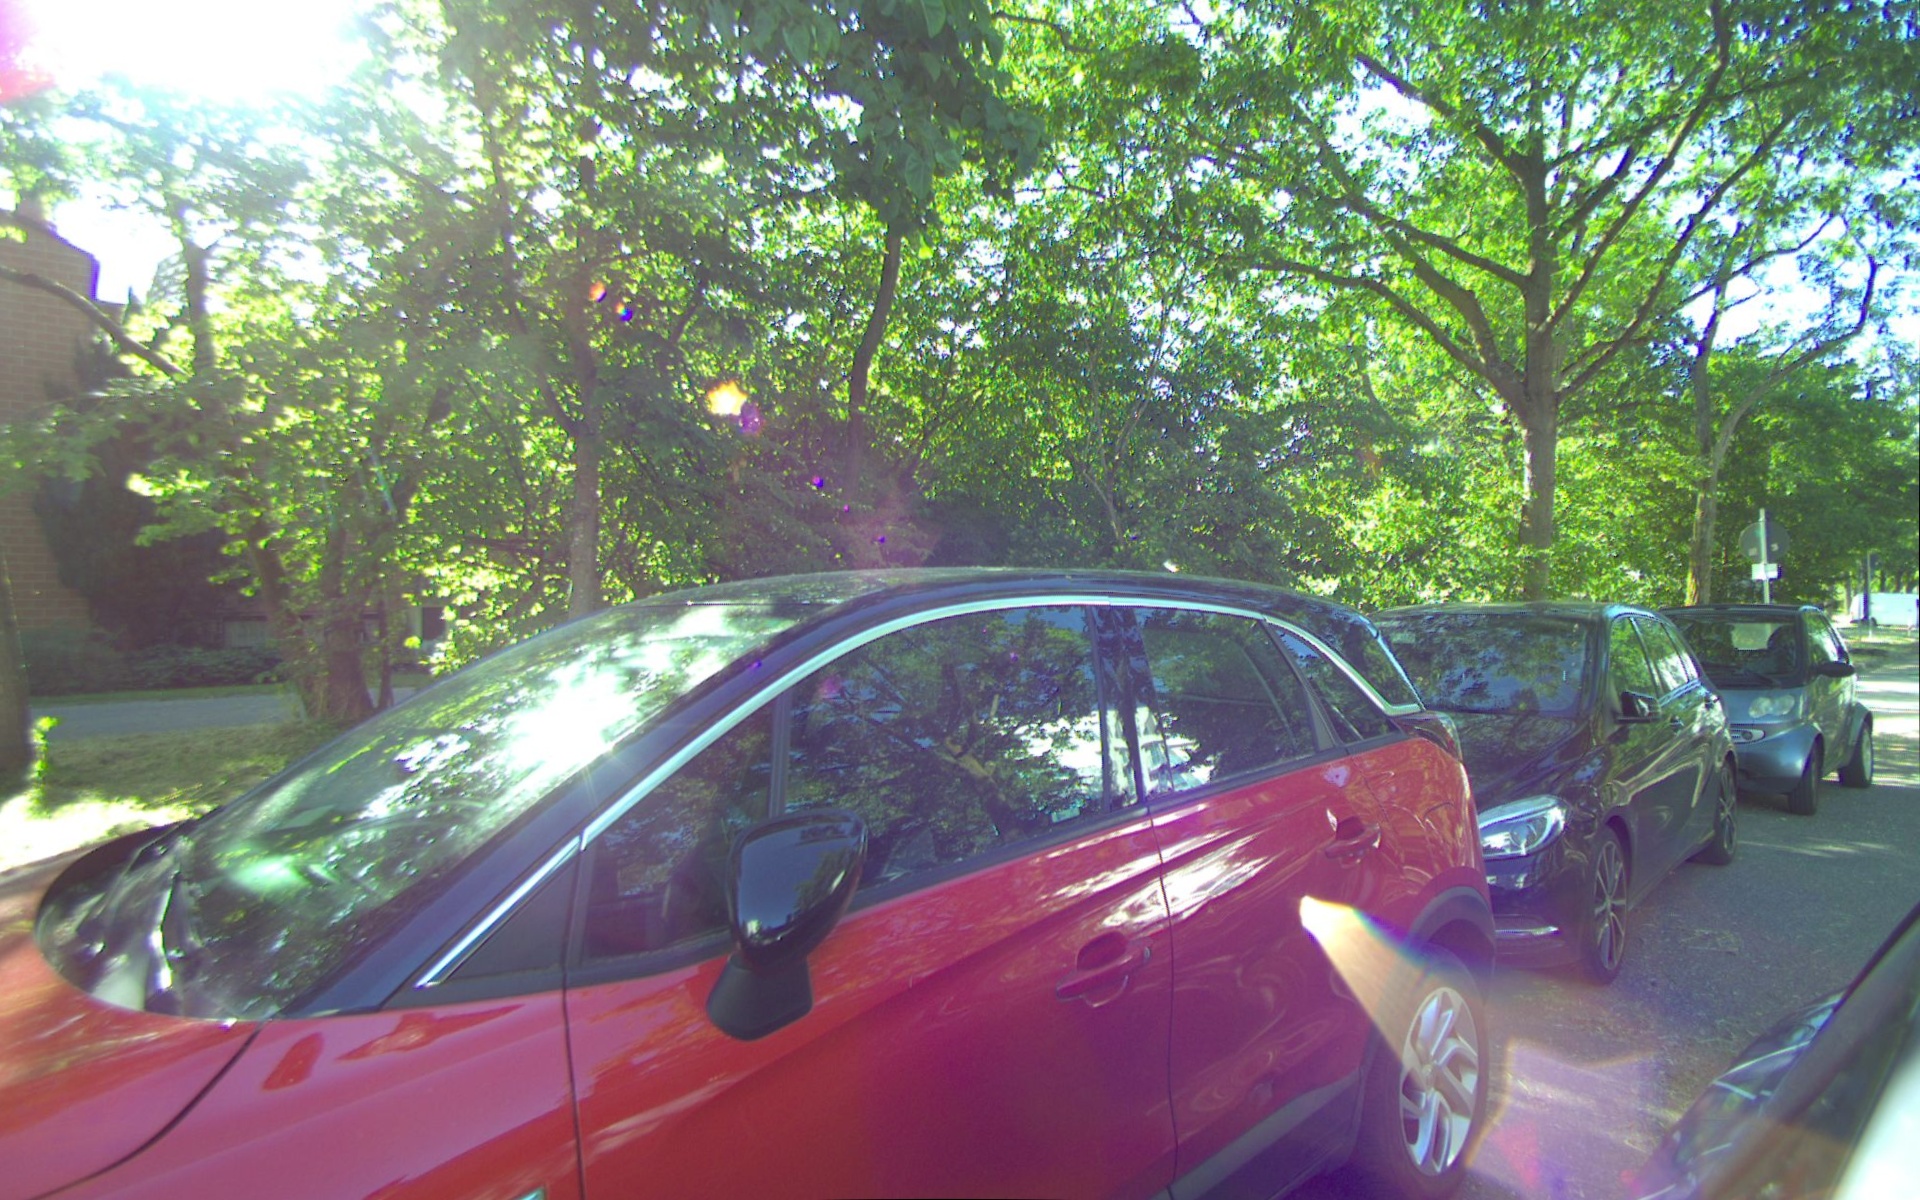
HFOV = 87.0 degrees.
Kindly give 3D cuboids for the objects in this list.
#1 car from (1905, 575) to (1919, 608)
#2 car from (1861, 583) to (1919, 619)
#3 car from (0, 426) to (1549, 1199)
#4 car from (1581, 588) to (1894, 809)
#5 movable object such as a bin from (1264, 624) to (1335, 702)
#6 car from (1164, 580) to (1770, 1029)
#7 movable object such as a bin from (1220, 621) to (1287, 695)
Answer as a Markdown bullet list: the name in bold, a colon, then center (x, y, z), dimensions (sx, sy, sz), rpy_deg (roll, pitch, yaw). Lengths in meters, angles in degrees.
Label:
- **car**: center (76.542, -0.629, 78.672), dimensions (4.401, 2.578, 1.858), rpy_deg (2, 1, 45)
- **car**: center (57.064, 0.083, 59.989), dimensions (1.966, 2.030, 5.262), rpy_deg (0, 1, -43)
- **car**: center (-0.377, 0.665, 2.244), dimensions (3.995, 1.594, 1.681), rpy_deg (0, -1, -41)
- **car**: center (6.518, 0.689, 8.433), dimensions (2.629, 1.528, 1.497), rpy_deg (0, -1, -39)
- **movable object such as a bin**: center (4.411, 0.801, 13.174), dimensions (0.454, 0.891, 0.728), rpy_deg (-7, 6, -35)
- **car**: center (2.999, 0.703, 5.509), dimensions (4.081, 1.528, 1.713), rpy_deg (0, -1, -44)
- **movable object such as a bin**: center (3.993, 0.772, 13.783), dimensions (0.454, 0.891, 0.728), rpy_deg (-7, 6, -35)
